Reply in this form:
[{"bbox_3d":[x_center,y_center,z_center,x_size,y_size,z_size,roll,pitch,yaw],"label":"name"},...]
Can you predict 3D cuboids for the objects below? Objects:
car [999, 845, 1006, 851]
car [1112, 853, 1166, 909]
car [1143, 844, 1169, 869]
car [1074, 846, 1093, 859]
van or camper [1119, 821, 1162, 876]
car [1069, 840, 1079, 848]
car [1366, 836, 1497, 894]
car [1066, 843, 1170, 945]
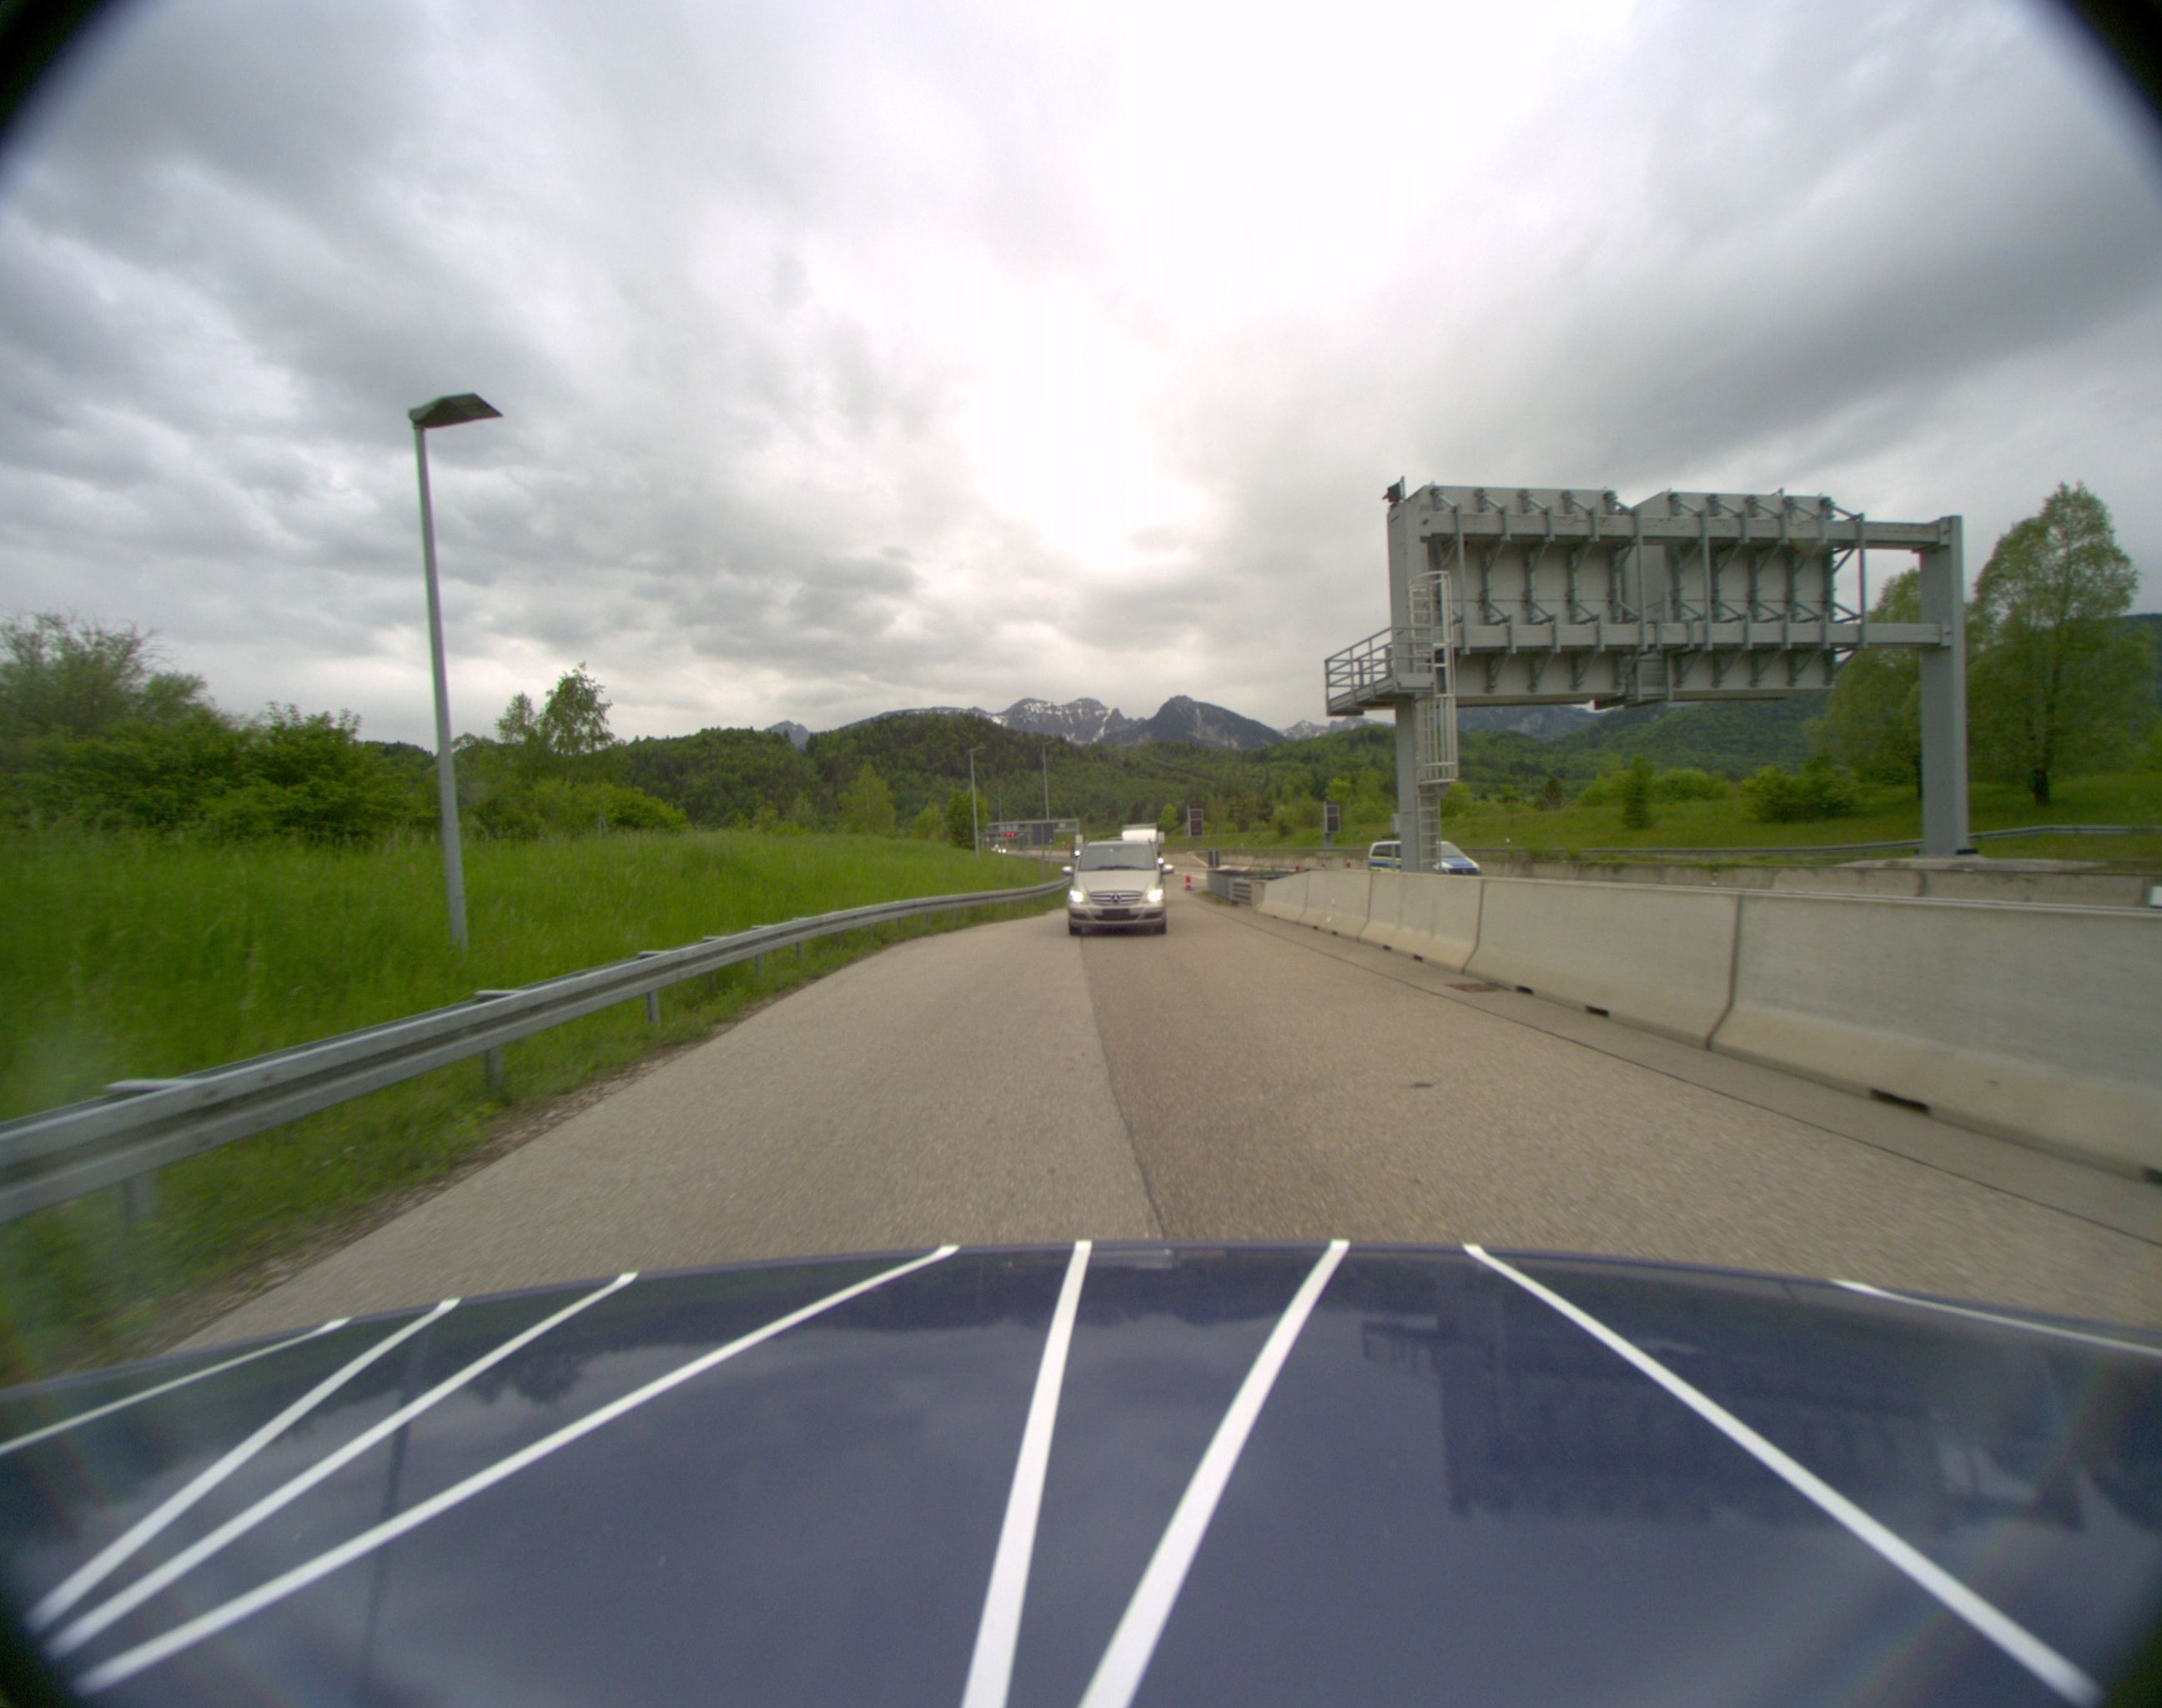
[{"bbox_3d":[-24.177,-1.766,233.366,1.738,1.646,3.996,-1,1,-9],"label":"car"},{"bbox_3d":[1.924,0.818,24.959,1.590,1.662,4.002,-1,0,5],"label":"car"},{"bbox_3d":[5.836,0.173,59.779,1.742,1.755,4.000,-4,1,3],"label":"car"},{"bbox_3d":[0.278,-0.182,99.890,1.722,1.629,4.343,-1,1,-11],"label":"car"},{"bbox_3d":[3.984,-0.398,50.694,2.581,3.372,7.357,-1,1,5],"label":"van or camper"},{"bbox_3d":[-1.771,-2.584,193.472,1.740,1.935,4.169,-2,1,-11],"label":"car"},{"bbox_3d":[13.212,0.353,29.095,2.105,2.002,5.047,-1,1,-9],"label":"car"},{"bbox_3d":[0.882,0.693,16.550,1.861,1.833,5.618,0,1,4],"label":"car"}]
